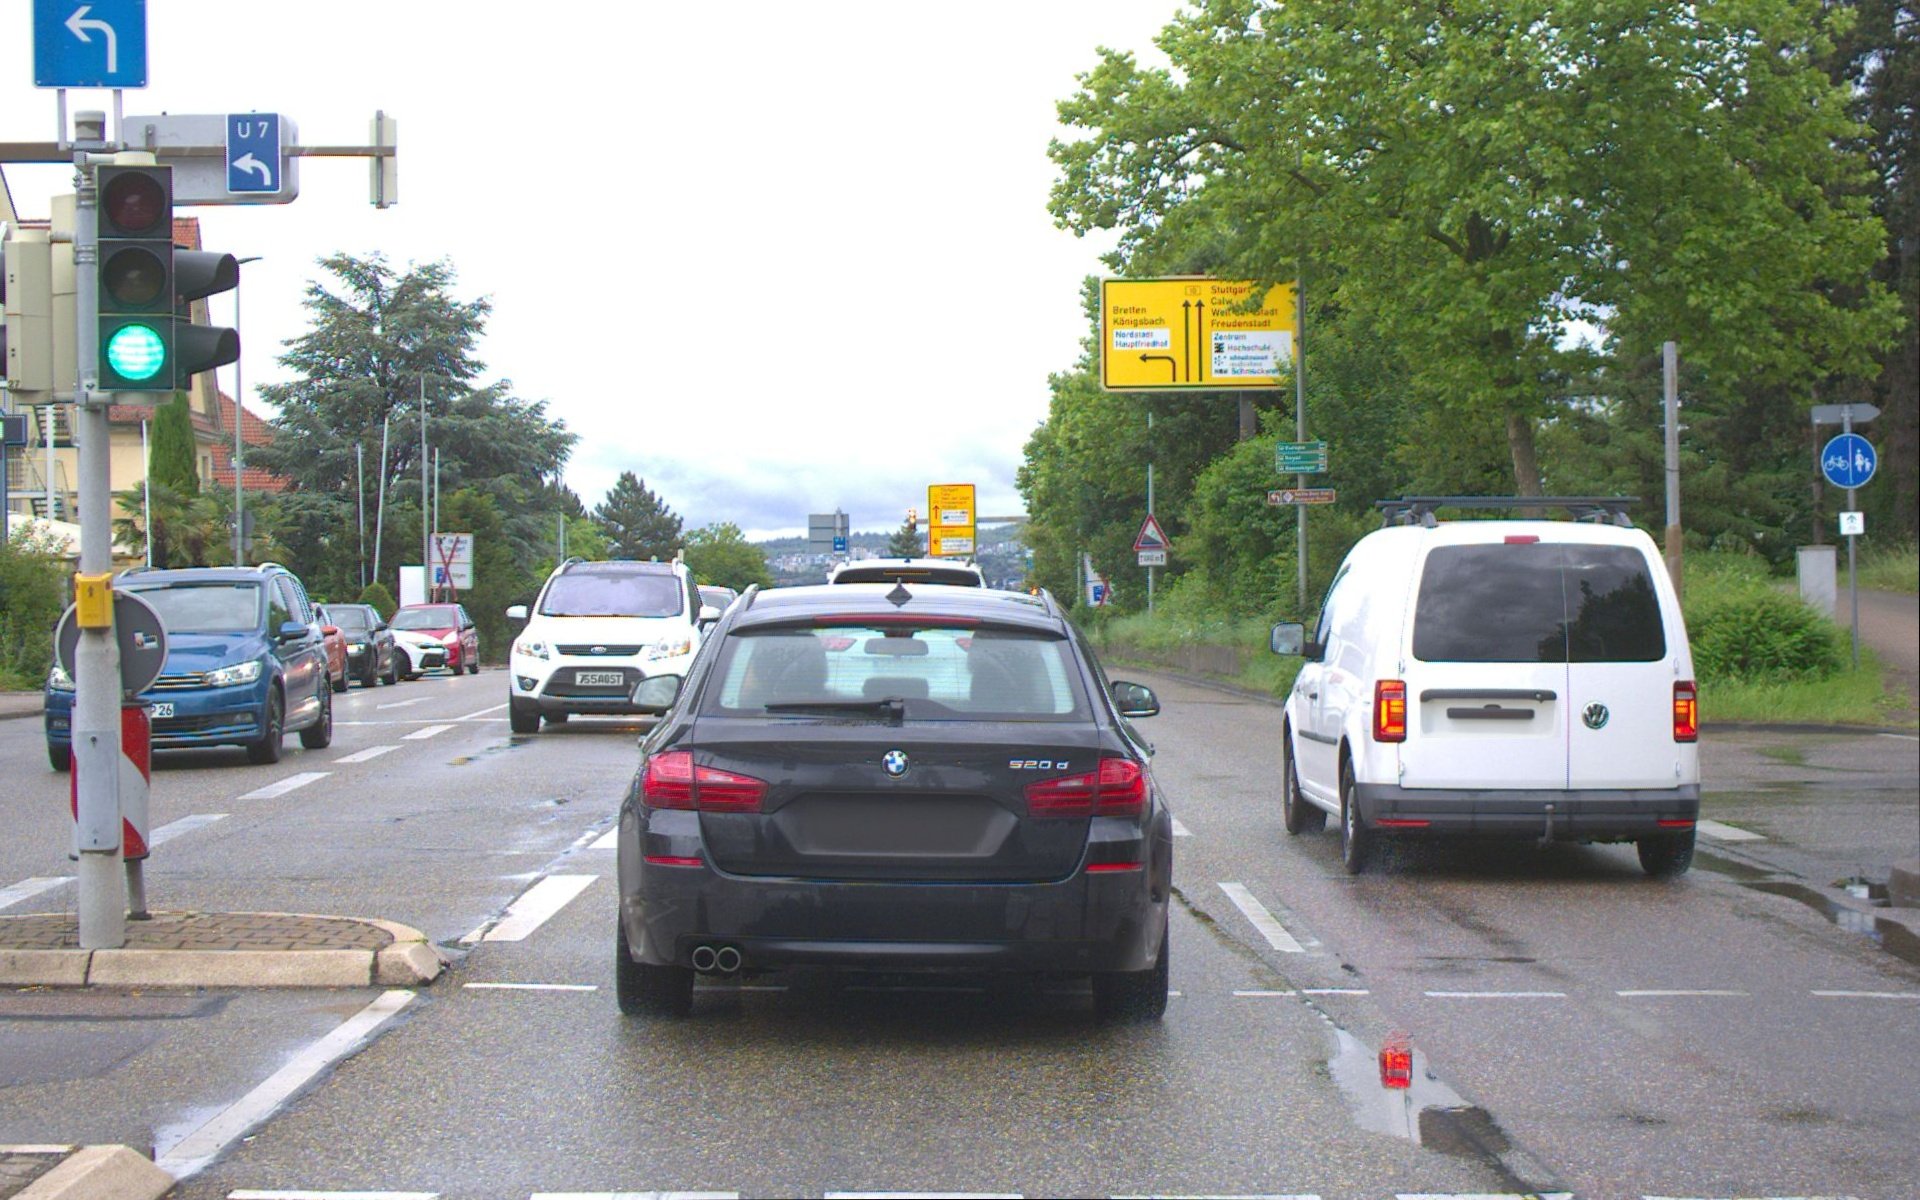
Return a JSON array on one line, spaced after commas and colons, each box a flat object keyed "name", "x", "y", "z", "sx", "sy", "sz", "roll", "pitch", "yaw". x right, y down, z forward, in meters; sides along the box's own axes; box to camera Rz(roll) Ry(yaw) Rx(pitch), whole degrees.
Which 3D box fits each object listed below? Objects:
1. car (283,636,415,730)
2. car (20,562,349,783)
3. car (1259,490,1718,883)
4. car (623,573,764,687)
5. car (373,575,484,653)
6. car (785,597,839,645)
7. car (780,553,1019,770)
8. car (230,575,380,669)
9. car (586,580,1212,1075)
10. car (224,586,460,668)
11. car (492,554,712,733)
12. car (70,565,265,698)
[{"name": "car", "x": -10.409, "y": 1.389, "z": 58.780, "sx": 1.601, "sy": 1.395, "sz": 4.406, "roll": -2, "pitch": 1, "yaw": -2}, {"name": "car", "x": -6.388, "y": 0.534, "z": 28.776, "sx": 1.839, "sy": 1.644, "sz": 4.298, "roll": -2, "pitch": 1, "yaw": -2}, {"name": "car", "x": 2.701, "y": 0.379, "z": 18.397, "sx": 1.764, "sy": 1.871, "sz": 3.805, "roll": 1, "pitch": 1, "yaw": -1}, {"name": "car", "x": -3.482, "y": 0.394, "z": 45.393, "sx": 1.632, "sy": 1.429, "sz": 4.144, "roll": 0, "pitch": -1, "yaw": -1}, {"name": "car", "x": -11.109, "y": 0.272, "z": 72.029, "sx": 1.770, "sy": 1.563, "sz": 4.000, "roll": 0, "pitch": 0, "yaw": -1}, {"name": "car", "x": -5.521, "y": 0.776, "z": 128.879, "sx": 1.868, "sy": 1.668, "sz": 4.000, "roll": 1, "pitch": 1, "yaw": 0}, {"name": "car", "x": -0.490, "y": 0.462, "z": 29.163, "sx": 1.868, "sy": 1.668, "sz": 4.000, "roll": 1, "pitch": 1, "yaw": 0}, {"name": "car", "x": -10.104, "y": 0.315, "z": 53.224, "sx": 1.622, "sy": 1.327, "sz": 3.947, "roll": -2, "pitch": 1, "yaw": -1}, {"name": "car", "x": -0.199, "y": 0.684, "z": 12.497, "sx": 1.899, "sy": 1.436, "sz": 4.000, "roll": 1, "pitch": 1, "yaw": 0}, {"name": "car", "x": -11.567, "y": 0.513, "z": 64.427, "sx": 4.033, "sy": 1.472, "sz": 1.642, "roll": -1, "pitch": 0, "yaw": 9}, {"name": "car", "x": -3.479, "y": 0.376, "z": 34.101, "sx": 1.839, "sy": 1.644, "sz": 4.298, "roll": 0, "pitch": 1, "yaw": -2}, {"name": "car", "x": -10.466, "y": 0.382, "z": 45.637, "sx": 1.676, "sy": 1.612, "sz": 4.000, "roll": -1, "pitch": 1, "yaw": -1}]
